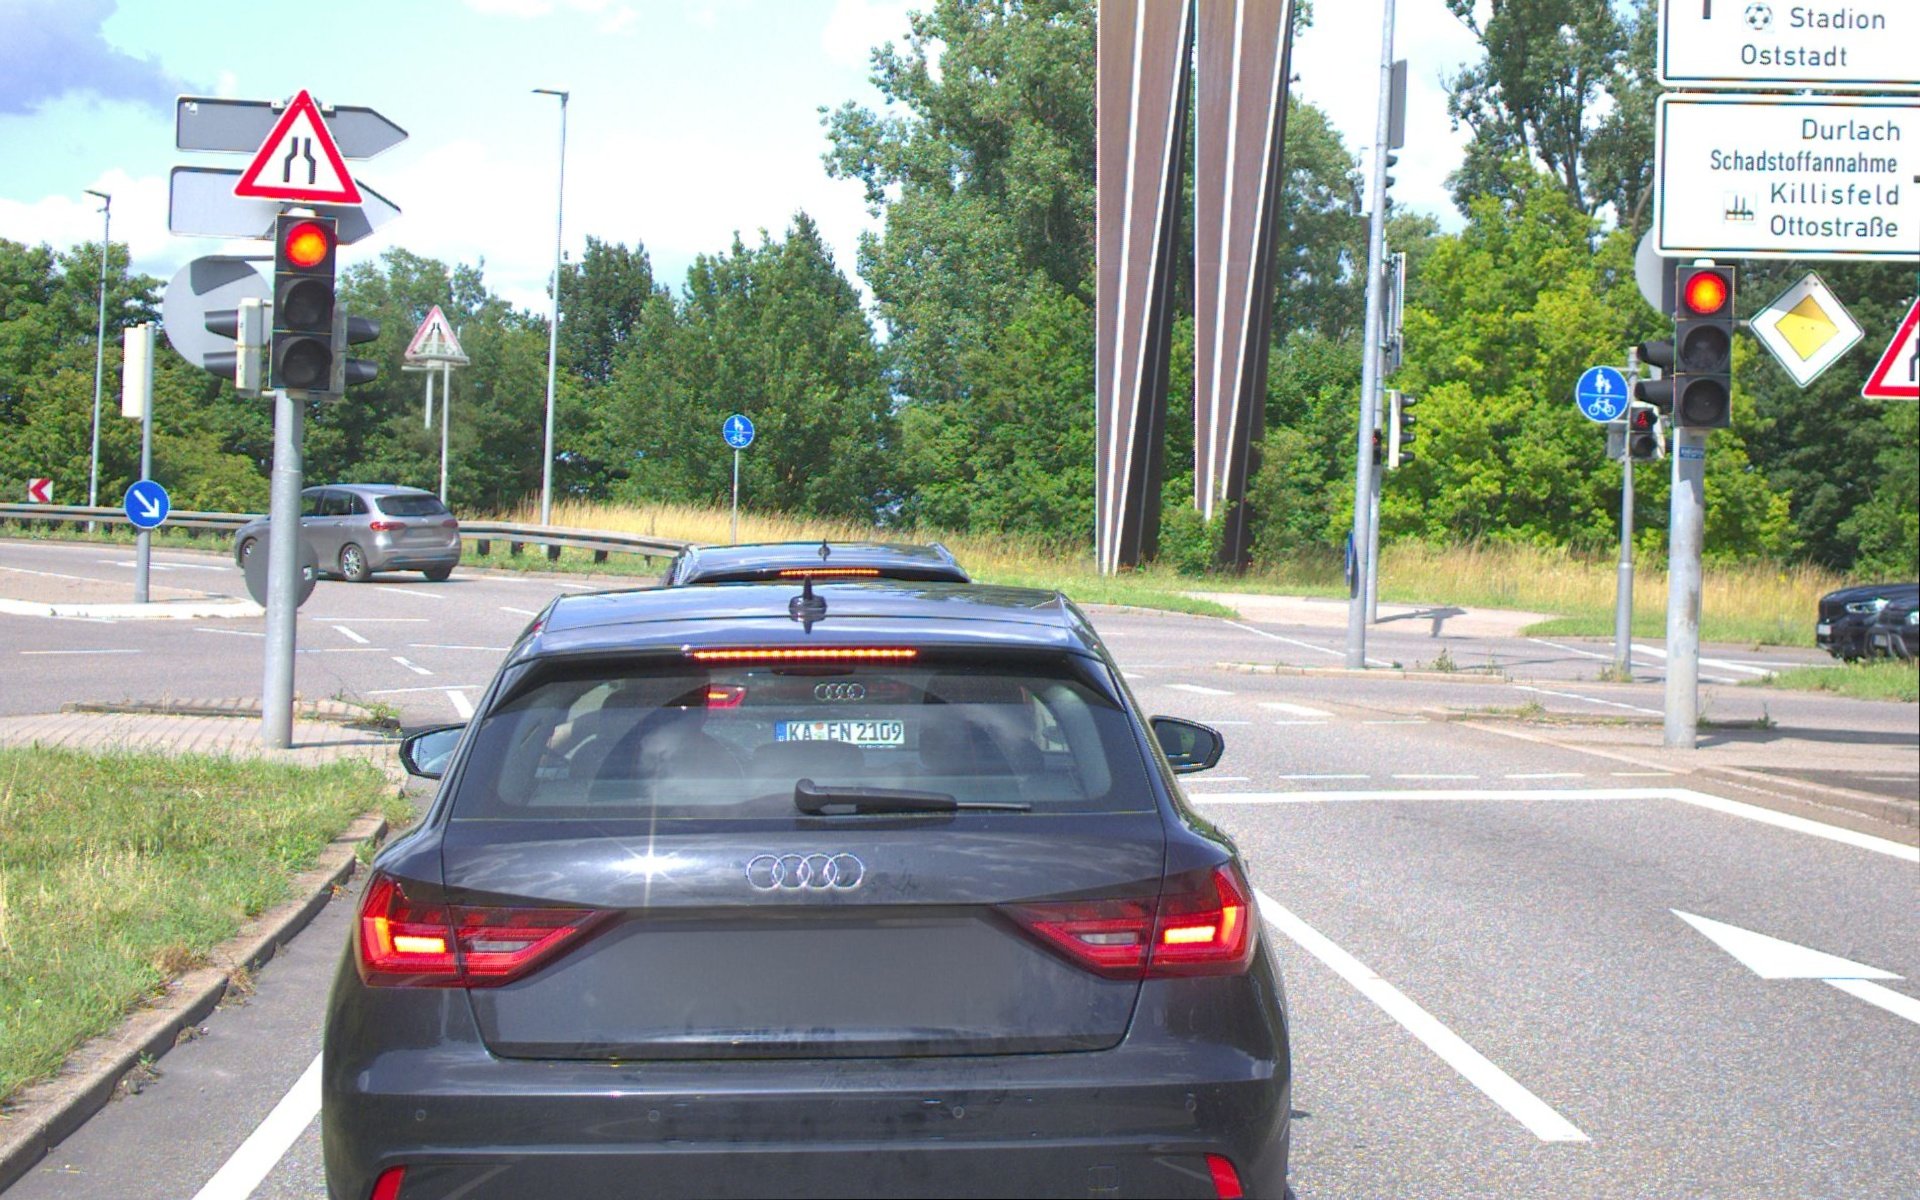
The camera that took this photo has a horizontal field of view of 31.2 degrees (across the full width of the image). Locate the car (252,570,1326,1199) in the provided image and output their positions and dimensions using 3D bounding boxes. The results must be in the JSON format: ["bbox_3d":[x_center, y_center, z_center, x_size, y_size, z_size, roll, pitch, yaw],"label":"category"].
[{"bbox_3d":[-0.297,0.668,7.540,1.726,1.399,4.000,0,1,-1],"label":"car"}]

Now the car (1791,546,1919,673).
[{"bbox_3d":[13.233,0.166,43.736,4.847,1.539,1.737,2,1,-1],"label":"car"}]

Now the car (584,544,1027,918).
[{"bbox_3d":[-0.754,0.477,15.340,1.726,1.418,3.845,0,1,-5],"label":"car"}]

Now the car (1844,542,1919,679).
[{"bbox_3d":[12.643,0.165,39.883,4.268,1.539,1.737,2,1,-1],"label":"car"}]

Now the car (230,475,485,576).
[{"bbox_3d":[-9.700,-1.207,55.187,1.995,1.491,4.117,1,2,-45],"label":"car"}]
